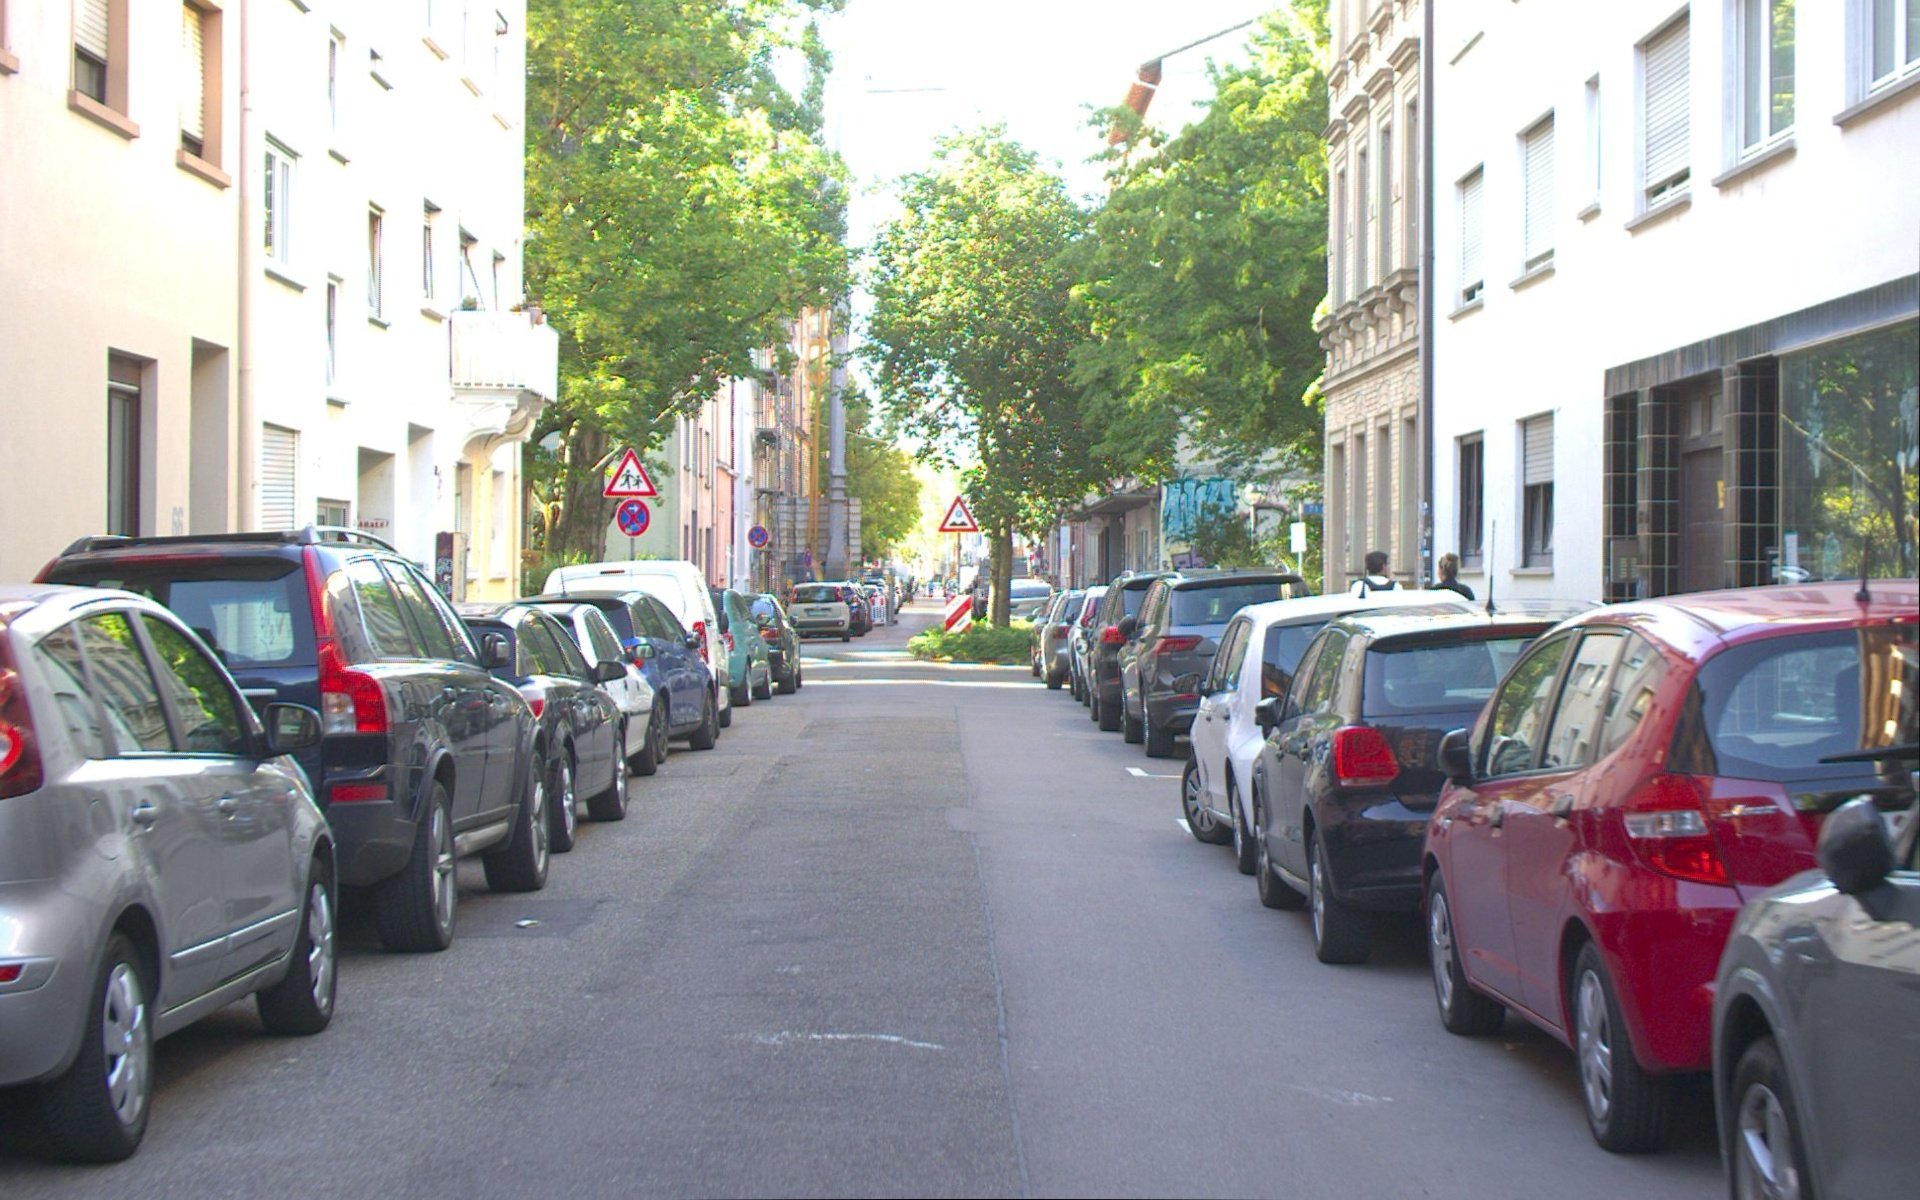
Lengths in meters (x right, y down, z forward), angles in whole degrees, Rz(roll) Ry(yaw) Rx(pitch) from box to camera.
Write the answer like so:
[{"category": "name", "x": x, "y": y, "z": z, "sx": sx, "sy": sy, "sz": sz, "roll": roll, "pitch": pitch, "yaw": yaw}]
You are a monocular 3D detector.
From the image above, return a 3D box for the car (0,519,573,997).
[{"category": "car", "x": -2.980, "y": 0.585, "z": 15.640, "sx": 1.743, "sy": 1.805, "sz": 4.672, "roll": -2, "pitch": 1, "yaw": 2}]

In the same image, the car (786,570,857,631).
[{"category": "car", "x": -3.568, "y": -0.002, "z": 89.087, "sx": 1.676, "sy": 1.482, "sz": 4.095, "roll": -2, "pitch": 1, "yaw": -1}]

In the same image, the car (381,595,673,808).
[{"category": "car", "x": -3.195, "y": 0.706, "z": 26.079, "sx": 1.673, "sy": 1.383, "sz": 4.182, "roll": -2, "pitch": 1, "yaw": 0}]

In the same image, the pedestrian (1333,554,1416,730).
[{"category": "pedestrian", "x": 3.958, "y": 0.392, "z": 32.872, "sx": 0.685, "sy": 1.654, "sz": 0.717, "roll": -1, "pitch": 1, "yaw": 0}]

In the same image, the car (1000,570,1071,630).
[{"category": "car", "x": 1.969, "y": -0.019, "z": 90.358, "sx": 1.676, "sy": 1.482, "sz": 3.638, "roll": -2, "pitch": 1, "yaw": -1}]

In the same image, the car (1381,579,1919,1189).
[{"category": "car", "x": 2.455, "y": 0.720, "z": 10.981, "sx": 1.598, "sy": 1.501, "sz": 4.185, "roll": -2, "pitch": 1, "yaw": -1}]

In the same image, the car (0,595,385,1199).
[{"category": "car", "x": -2.977, "y": 0.791, "z": 10.454, "sx": 1.656, "sy": 1.516, "sz": 3.944, "roll": -2, "pitch": 1, "yaw": 2}]

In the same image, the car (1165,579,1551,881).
[{"category": "car", "x": 2.198, "y": 0.667, "z": 19.931, "sx": 1.676, "sy": 1.501, "sz": 3.938, "roll": -2, "pitch": 1, "yaw": -1}]

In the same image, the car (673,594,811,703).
[{"category": "car", "x": -3.008, "y": 0.648, "z": 48.146, "sx": 1.670, "sy": 1.356, "sz": 4.049, "roll": -2, "pitch": 1, "yaw": -1}]

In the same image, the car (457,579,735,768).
[{"category": "car", "x": -3.146, "y": 0.600, "z": 30.472, "sx": 1.674, "sy": 1.481, "sz": 3.991, "roll": -2, "pitch": 1, "yaw": 5}]

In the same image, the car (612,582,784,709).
[{"category": "car", "x": -3.297, "y": 0.544, "z": 43.882, "sx": 1.670, "sy": 1.464, "sz": 3.820, "roll": -2, "pitch": 1, "yaw": 3}]

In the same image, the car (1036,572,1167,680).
[{"category": "car", "x": 2.082, "y": 0.358, "z": 51.530, "sx": 1.676, "sy": 1.482, "sz": 4.095, "roll": -2, "pitch": 1, "yaw": -1}]

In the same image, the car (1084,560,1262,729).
[{"category": "car", "x": 2.249, "y": 0.462, "z": 37.205, "sx": 1.676, "sy": 1.676, "sz": 4.094, "roll": -2, "pitch": 0, "yaw": 1}]

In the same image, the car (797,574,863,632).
[{"category": "car", "x": -3.548, "y": 0.062, "z": 94.509, "sx": 1.676, "sy": 1.482, "sz": 4.095, "roll": -2, "pitch": 1, "yaw": -1}]

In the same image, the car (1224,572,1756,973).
[{"category": "car", "x": 2.228, "y": 0.659, "z": 15.426, "sx": 1.676, "sy": 1.501, "sz": 3.938, "roll": -2, "pitch": 1, "yaw": -1}]

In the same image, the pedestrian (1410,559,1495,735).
[{"category": "pedestrian", "x": 4.706, "y": 0.439, "z": 32.895, "sx": 0.685, "sy": 1.654, "sz": 0.717, "roll": -1, "pitch": 1, "yaw": 0}]

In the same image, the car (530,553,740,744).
[{"category": "car", "x": -3.261, "y": 0.442, "z": 35.152, "sx": 1.765, "sy": 1.779, "sz": 4.039, "roll": -2, "pitch": 1, "yaw": -1}]

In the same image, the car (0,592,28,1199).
[{"category": "car", "x": -2.963, "y": 0.795, "z": 5.519, "sx": 1.695, "sy": 1.516, "sz": 4.096, "roll": -2, "pitch": 1, "yaw": 2}]

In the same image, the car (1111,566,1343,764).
[{"category": "car", "x": 2.433, "y": 0.553, "z": 32.213, "sx": 1.676, "sy": 1.621, "sz": 4.251, "roll": -4, "pitch": 0, "yaw": -1}]

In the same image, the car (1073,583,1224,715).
[{"category": "car", "x": 2.284, "y": 0.571, "z": 42.413, "sx": 1.566, "sy": 1.478, "sz": 3.619, "roll": -2, "pitch": 1, "yaw": -1}]

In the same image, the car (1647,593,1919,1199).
[{"category": "car", "x": 2.453, "y": 0.750, "z": 5.491, "sx": 1.744, "sy": 1.501, "sz": 4.021, "roll": -2, "pitch": 1, "yaw": -2}]

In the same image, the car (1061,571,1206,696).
[{"category": "car", "x": 2.311, "y": 0.424, "z": 46.625, "sx": 1.676, "sy": 1.556, "sz": 3.796, "roll": -2, "pitch": 1, "yaw": -1}]

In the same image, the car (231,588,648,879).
[{"category": "car", "x": -3.059, "y": 0.726, "z": 21.051, "sx": 1.743, "sy": 1.501, "sz": 4.346, "roll": -2, "pitch": 1, "yaw": 2}]
